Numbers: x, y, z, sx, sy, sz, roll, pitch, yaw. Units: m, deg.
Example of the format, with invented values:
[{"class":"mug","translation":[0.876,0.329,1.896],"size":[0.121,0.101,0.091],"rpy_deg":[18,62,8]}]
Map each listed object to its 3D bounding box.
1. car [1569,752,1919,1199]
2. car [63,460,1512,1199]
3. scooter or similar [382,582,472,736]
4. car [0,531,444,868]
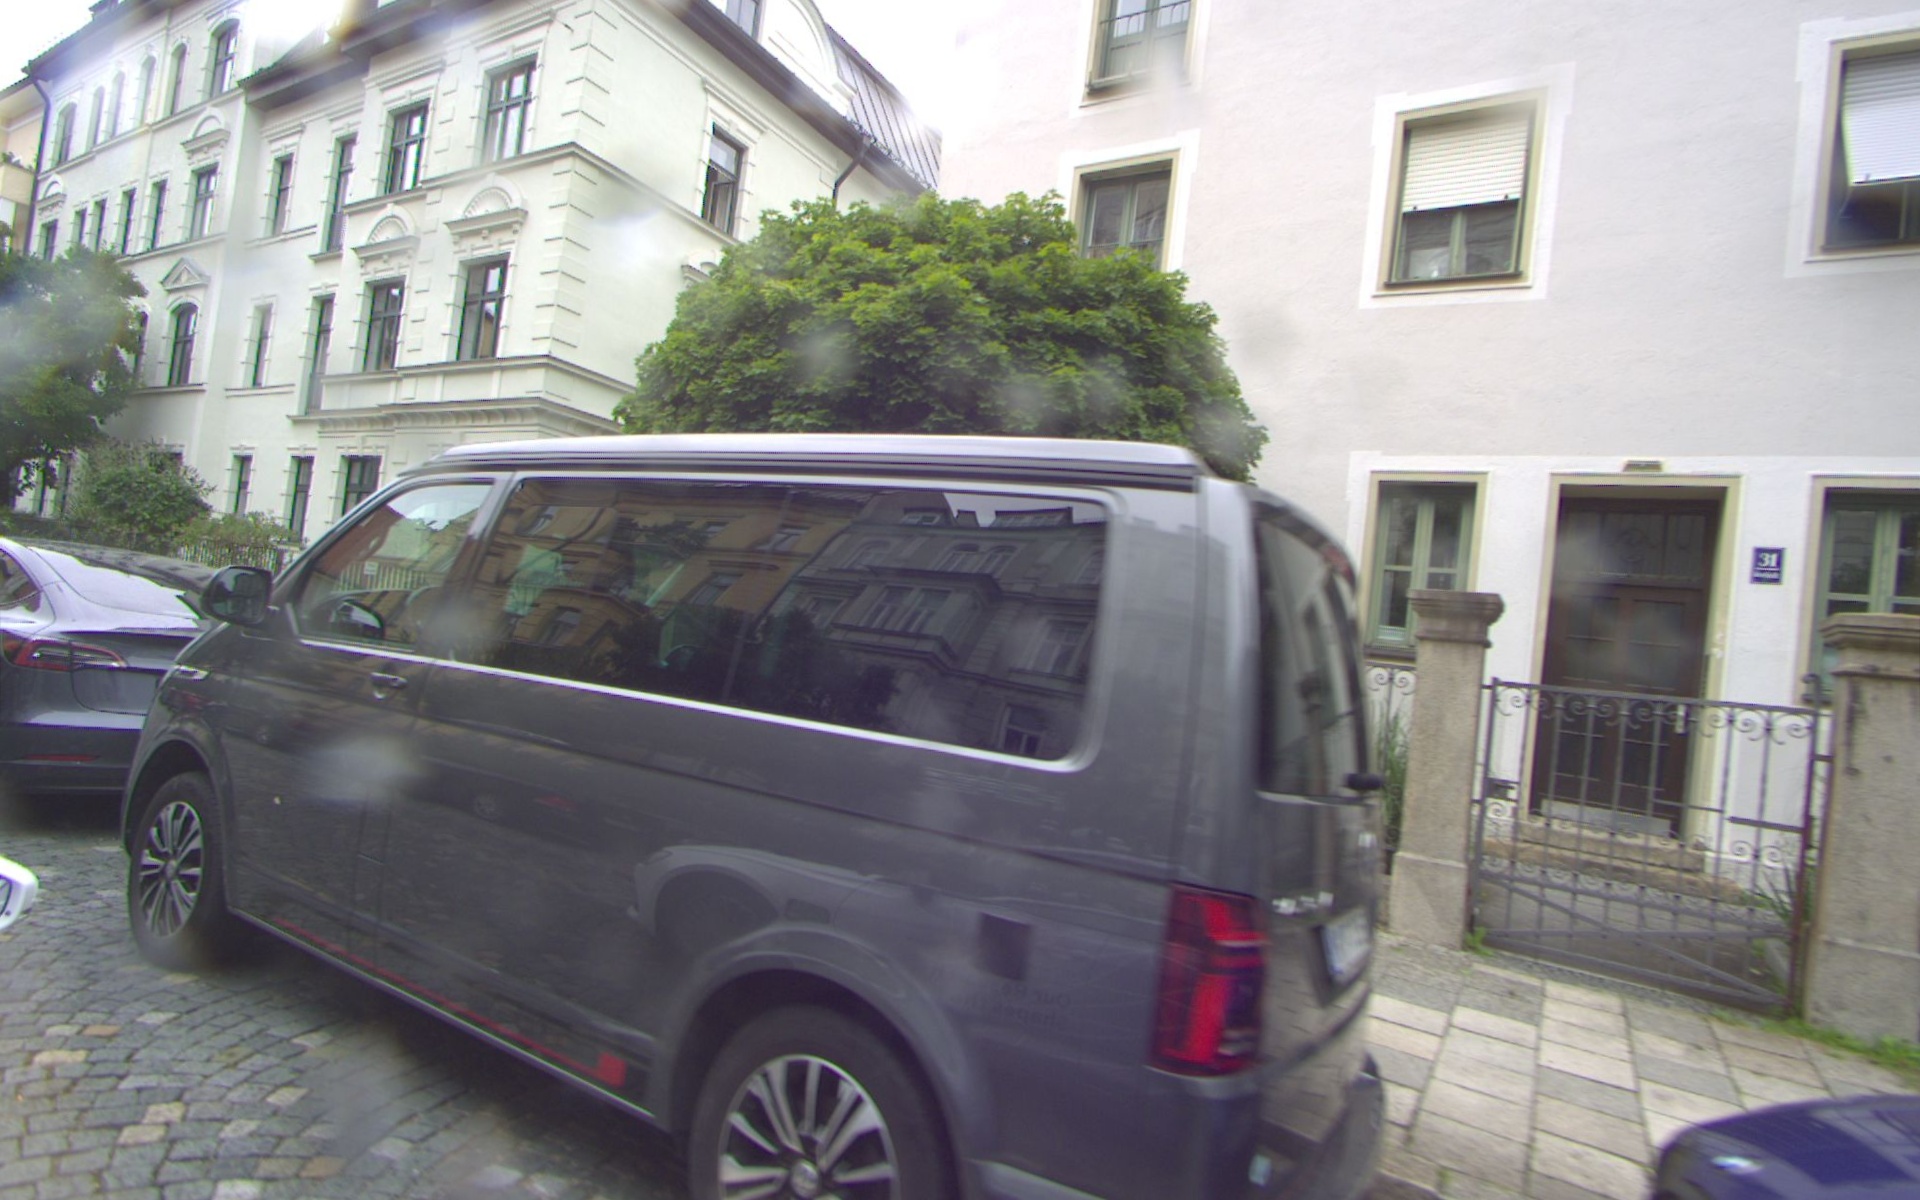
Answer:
[{"class":"car","translation":[3.264,1.238,0.675],"size":[4.795,1.522,1.935],"rpy_deg":[5,-4,32]},{"class":"car","translation":[-0.898,0.614,3.558],"size":[4.770,1.710,2.025],"rpy_deg":[6,-2,32]},{"class":"scooter or similar","translation":[-5.143,0.531,9.748],"size":[0.622,1.349,1.593],"rpy_deg":[5,-1,-27]},{"class":"car","translation":[-5.620,0.382,6.411],"size":[4.724,1.449,1.927],"rpy_deg":[6,-5,33]}]
